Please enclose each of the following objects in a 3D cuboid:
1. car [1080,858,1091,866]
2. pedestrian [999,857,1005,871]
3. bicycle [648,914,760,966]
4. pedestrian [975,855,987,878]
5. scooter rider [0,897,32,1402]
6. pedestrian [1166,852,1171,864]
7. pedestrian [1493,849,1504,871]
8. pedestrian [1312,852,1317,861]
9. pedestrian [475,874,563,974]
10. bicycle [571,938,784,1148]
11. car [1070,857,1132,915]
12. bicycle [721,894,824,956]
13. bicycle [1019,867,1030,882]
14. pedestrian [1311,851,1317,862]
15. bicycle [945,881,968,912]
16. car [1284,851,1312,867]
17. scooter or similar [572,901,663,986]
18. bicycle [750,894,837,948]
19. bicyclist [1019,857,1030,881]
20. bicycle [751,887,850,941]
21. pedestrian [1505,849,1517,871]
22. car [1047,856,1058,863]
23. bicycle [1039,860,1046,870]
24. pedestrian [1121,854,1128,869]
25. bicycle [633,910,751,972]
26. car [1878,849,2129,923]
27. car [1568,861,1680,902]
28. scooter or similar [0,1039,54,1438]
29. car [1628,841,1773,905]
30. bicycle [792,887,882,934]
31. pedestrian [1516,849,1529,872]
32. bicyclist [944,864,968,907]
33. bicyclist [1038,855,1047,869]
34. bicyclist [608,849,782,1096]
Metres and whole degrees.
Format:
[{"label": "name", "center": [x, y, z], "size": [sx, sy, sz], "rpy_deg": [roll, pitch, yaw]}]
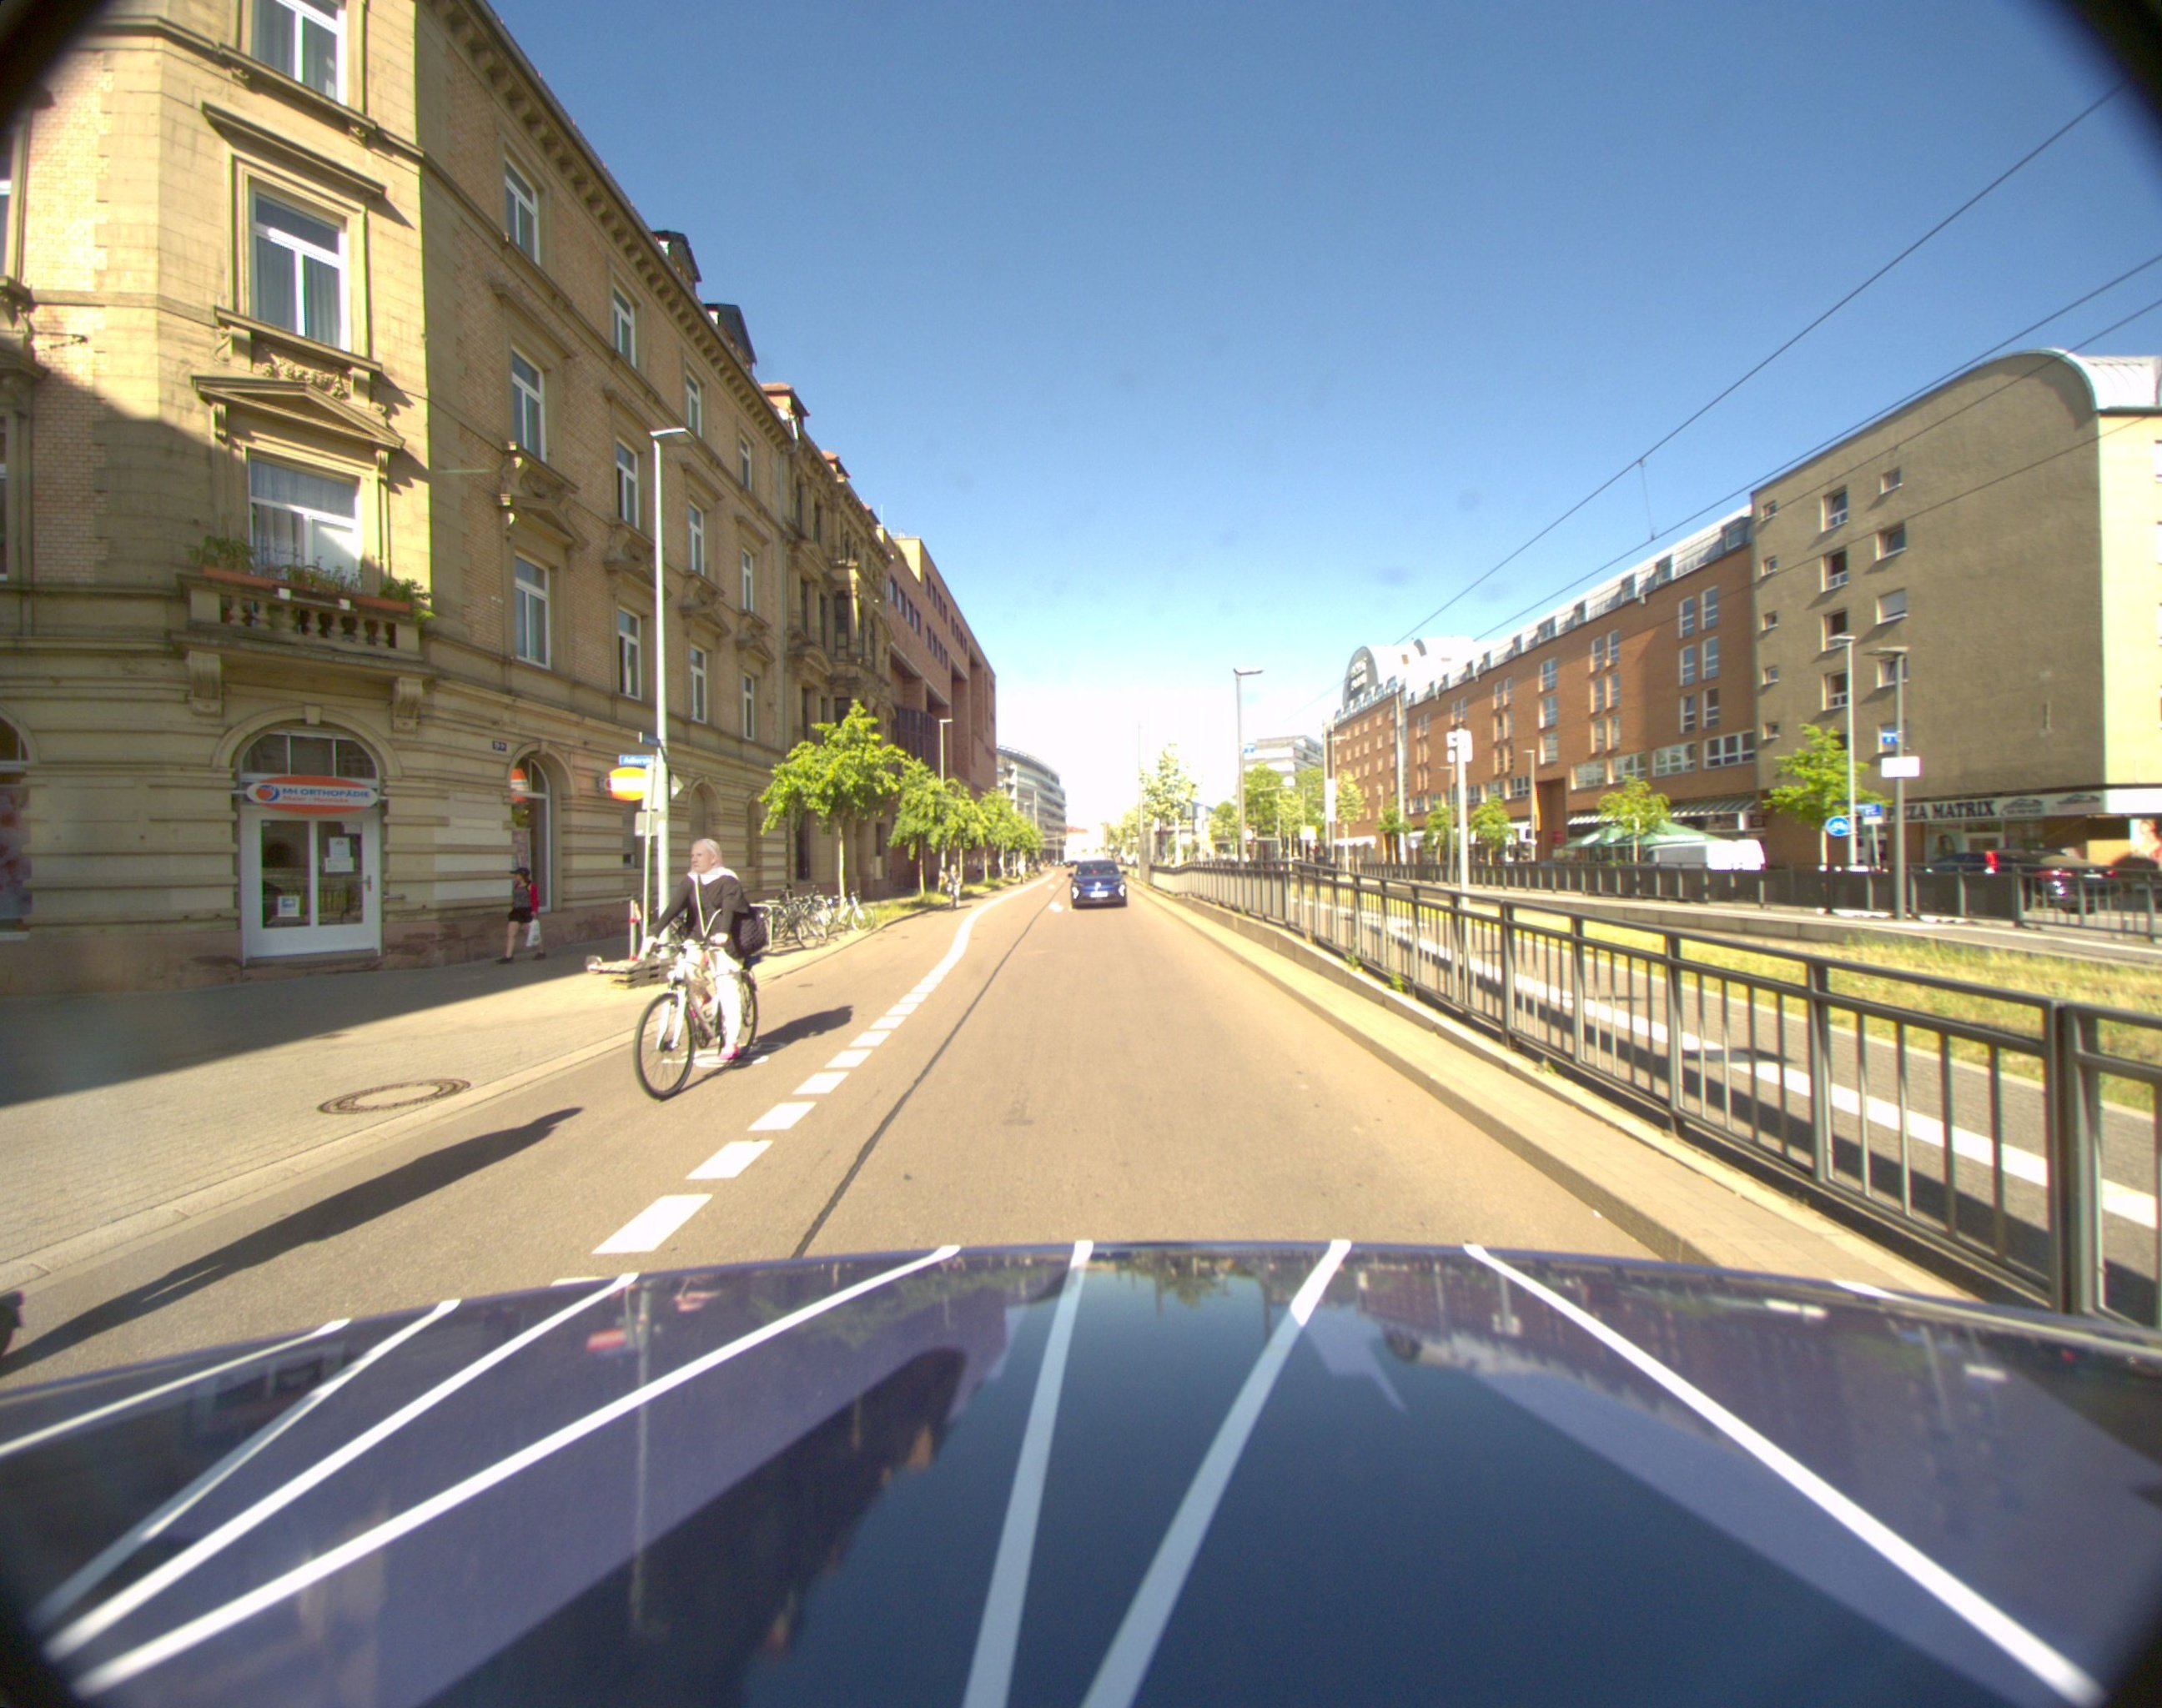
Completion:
[{"label": "car", "center": [1.081, 1.823, 172.497], "size": [1.882, 1.455, 4.002], "rpy_deg": [-2, 1, 8]}, {"label": "pedestrian", "center": [-8.835, 1.122, 85.117], "size": [0.633, 1.478, 0.736], "rpy_deg": [-1, 1, 0]}, {"label": "bicycle", "center": [-6.523, 1.481, 13.177], "size": [1.673, 0.816, 0.607], "rpy_deg": [0, 0, 7]}, {"label": "pedestrian", "center": [-8.167, 1.041, 62.239], "size": [0.790, 1.872, 1.106], "rpy_deg": [-1, 1, 0]}, {"label": "scooter rider", "center": [-3.656, 0.752, 1.911], "size": [0.668, 1.850, 0.901], "rpy_deg": [-3, 0, 0]}, {"label": "pedestrian", "center": [12.073, 0.538, 104.817], "size": [0.609, 1.560, 0.728], "rpy_deg": [-1, 0, 15]}, {"label": "pedestrian", "center": [35.666, 0.492, 64.947], "size": [0.622, 1.829, 0.644], "rpy_deg": [-1, 1, -1]}, {"label": "pedestrian", "center": [39.099, 0.448, 127.264], "size": [0.645, 1.601, 0.728], "rpy_deg": [-1, 0, 5]}, {"label": "pedestrian", "center": [-9.112, 1.102, 12.356], "size": [0.711, 1.533, 0.927], "rpy_deg": [-1, 1, 0]}, {"label": "bicycle", "center": [-2.859, 1.276, 5.627], "size": [0.558, 1.086, 1.792], "rpy_deg": [-3, 0, 0]}, {"label": "car", "center": [0.620, 0.977, 24.965], "size": [1.802, 1.596, 3.999], "rpy_deg": [-2, 1, 1]}, {"label": "bicycle", "center": [-5.924, 1.358, 14.646], "size": [1.727, 1.094, 0.607], "rpy_deg": [1, 0, 4]}, {"label": "bicycle", "center": [-4.221, 1.525, 57.147], "size": [0.578, 1.090, 1.507], "rpy_deg": [-3, 0, 2]}, {"label": "pedestrian", "center": [35.924, 0.386, 117.289], "size": [0.716, 1.745, 0.779], "rpy_deg": [-1, 0, 4]}, {"label": "bicycle", "center": [-4.611, 1.554, 28.154], "size": [0.558, 1.021, 1.507], "rpy_deg": [-3, 0, 0]}, {"label": "car", "center": [24.232, 0.524, 84.840], "size": [1.998, 1.674, 3.999], "rpy_deg": [-2, 1, 1]}, {"label": "scooter or similar", "center": [-6.766, 1.287, 11.103], "size": [1.113, 1.182, 0.419], "rpy_deg": [0, 0, 8]}, {"label": "bicycle", "center": [-6.127, 1.417, 16.205], "size": [1.603, 1.039, 0.607], "rpy_deg": [1, 0, 4]}, {"label": "bicyclist", "center": [-4.247, 1.113, 57.165], "size": [0.684, 1.718, 0.909], "rpy_deg": [-3, 0, 3]}, {"label": "bicycle", "center": [-6.447, 1.371, 17.521], "size": [1.999, 1.121, 0.710], "rpy_deg": [1, 0, 2]}, {"label": "pedestrian", "center": [35.978, 0.486, 63.557], "size": [0.622, 1.829, 0.644], "rpy_deg": [-1, 1, -1]}, {"label": "car", "center": [-6.475, 1.294, 174.184], "size": [1.882, 1.455, 4.002], "rpy_deg": [-2, 1, 7]}, {"label": "bicycle", "center": [-4.286, 1.251, 85.363], "size": [0.578, 1.090, 1.507], "rpy_deg": [-3, 0, 3]}, {"label": "pedestrian", "center": [5.022, 0.904, 88.101], "size": [0.710, 1.713, 0.752], "rpy_deg": [-1, 1, -1]}, {"label": "bicycle", "center": [-6.394, 1.417, 12.509], "size": [1.673, 0.938, 0.607], "rpy_deg": [0, 0, 8]}, {"label": "car", "center": [24.164, 0.775, 20.177], "size": [1.819, 1.749, 4.000], "rpy_deg": [-1, 0, 0]}, {"label": "car", "center": [20.138, 0.987, 28.373], "size": [1.578, 1.368, 3.653], "rpy_deg": [1, 0, 1]}, {"label": "scooter or similar", "center": [-3.645, 1.223, 1.900], "size": [0.492, 1.219, 1.170], "rpy_deg": [-3, 0, 0]}, {"label": "car", "center": [25.348, 0.713, 31.424], "size": [1.997, 2.356, 5.649], "rpy_deg": [-1, 0, 8]}, {"label": "bicycle", "center": [-6.031, 1.403, 18.888], "size": [2.001, 1.086, 0.846], "rpy_deg": [1, 0, -9]}, {"label": "pedestrian", "center": [34.850, 0.504, 59.994], "size": [0.622, 1.829, 0.645], "rpy_deg": [-1, 1, 1]}, {"label": "bicyclist", "center": [-4.622, 1.157, 28.188], "size": [0.659, 1.528, 0.909], "rpy_deg": [-3, 0, 0]}, {"label": "bicyclist", "center": [-4.321, 0.908, 85.403], "size": [0.755, 1.607, 0.762], "rpy_deg": [-3, 0, 4]}, {"label": "bicyclist", "center": [-2.873, 0.832, 5.758], "size": [0.781, 1.701, 0.868], "rpy_deg": [-3, 0, 0]}]
